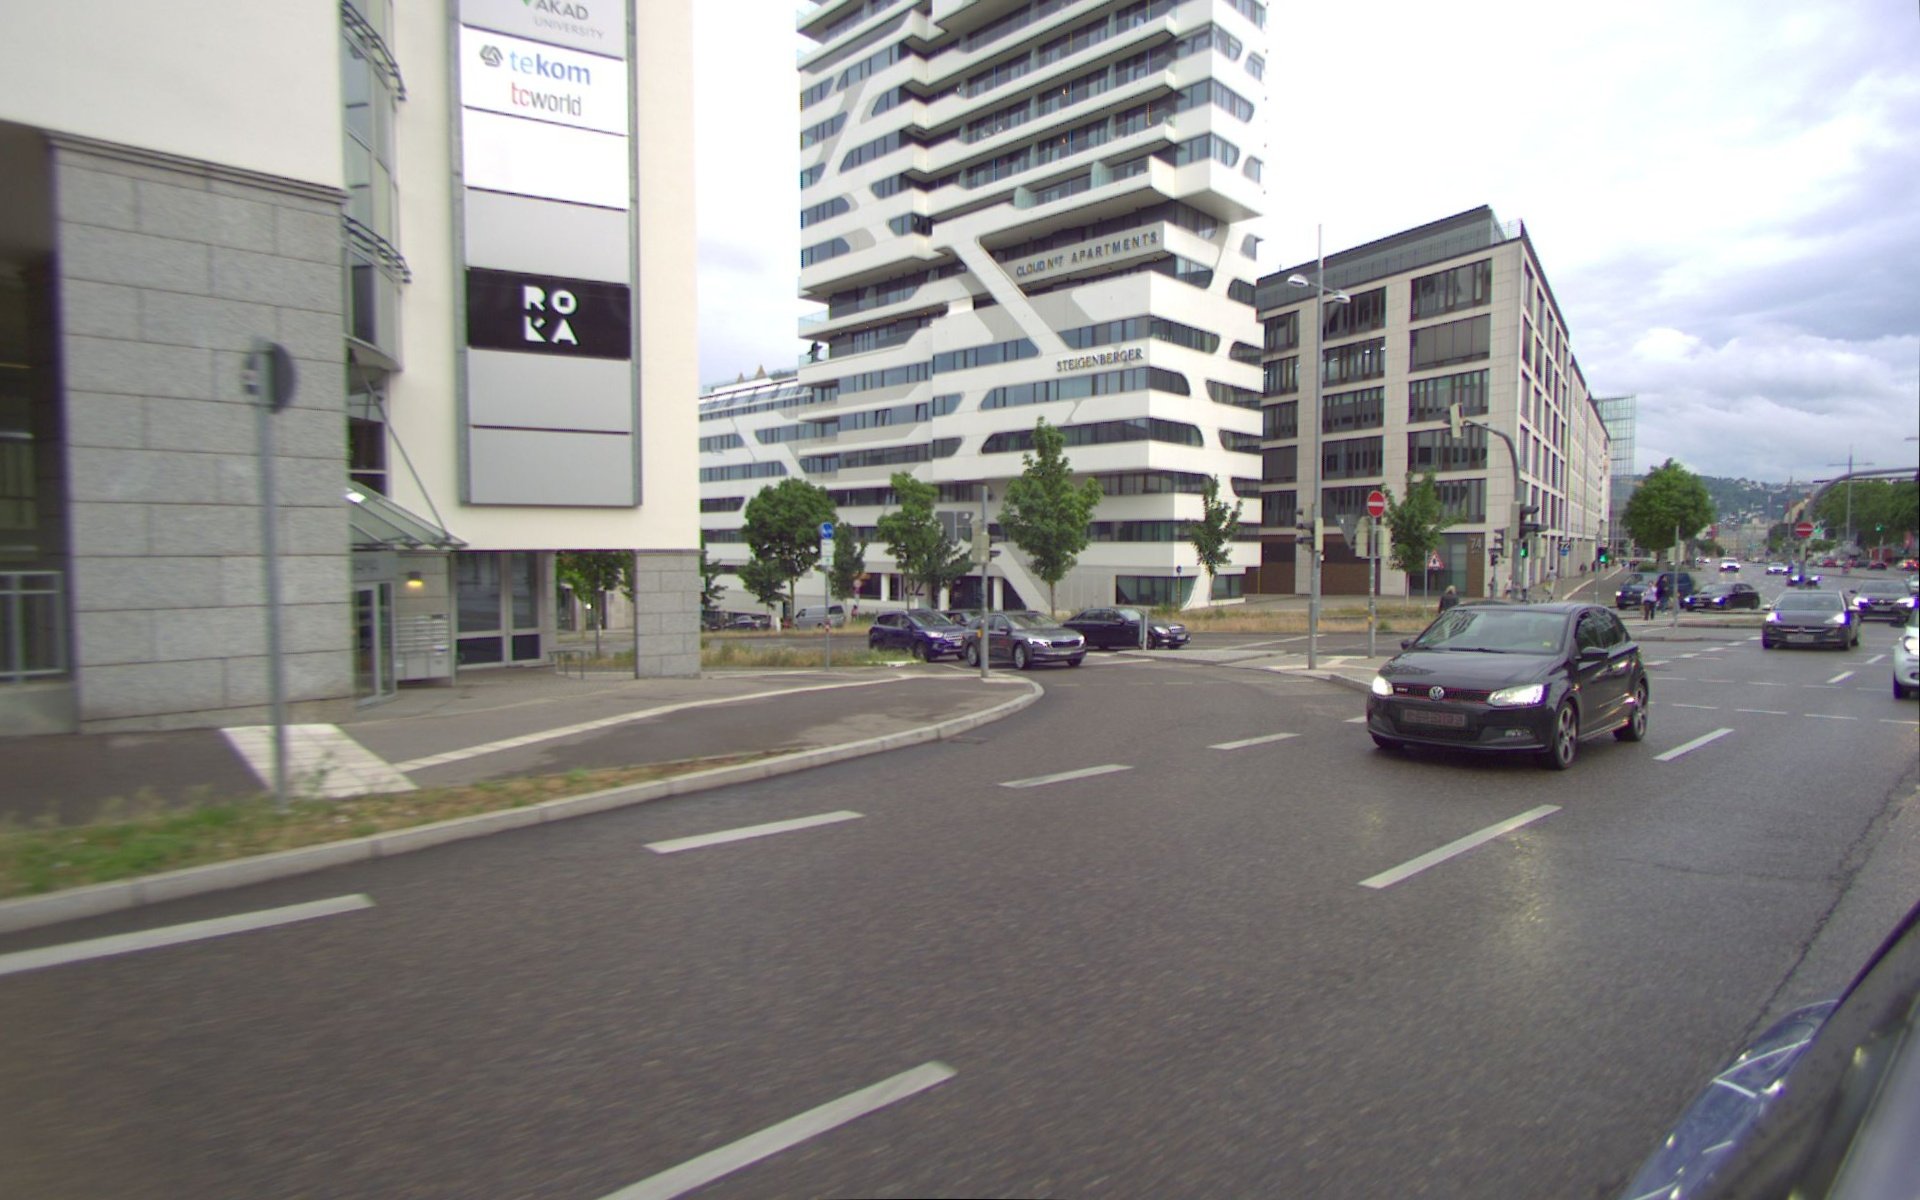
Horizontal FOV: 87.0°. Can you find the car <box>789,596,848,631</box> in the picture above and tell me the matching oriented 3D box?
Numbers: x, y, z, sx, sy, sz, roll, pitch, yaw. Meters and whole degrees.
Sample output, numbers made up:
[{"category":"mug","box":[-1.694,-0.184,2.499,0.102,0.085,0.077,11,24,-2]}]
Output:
[{"category":"car","box":[-10.388,0.963,74.035,4.482,2.409,1.773,0,1,42]}]

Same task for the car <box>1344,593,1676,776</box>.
[{"category":"car","box":[5.516,0.666,9.964,3.782,1.417,1.676,-1,1,-41]}]

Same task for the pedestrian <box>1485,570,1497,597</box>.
[{"category":"pedestrian","box":[31.694,-0.985,60.374,0.583,1.629,0.597,0,1,34]}]

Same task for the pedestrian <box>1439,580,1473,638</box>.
[{"category":"pedestrian","box":[14.362,0.239,29.306,0.633,1.645,0.707,-1,1,-41]}]

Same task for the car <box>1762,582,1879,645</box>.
[{"category":"car","box":[21.948,0.287,25.781,3.642,1.459,1.750,-1,1,-41]}]

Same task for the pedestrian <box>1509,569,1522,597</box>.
[{"category":"pedestrian","box":[32.627,-0.991,59.428,0.583,1.629,0.597,0,1,34]}]

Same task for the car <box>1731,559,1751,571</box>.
[{"category":"car","box":[102.236,-4.560,132.502,1.788,1.529,3.950,0,1,35]}]

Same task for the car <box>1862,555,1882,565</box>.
[{"category":"car","box":[145.856,-6.442,161.862,1.788,1.529,3.950,0,1,35]}]

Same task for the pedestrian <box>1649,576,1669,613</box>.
[{"category":"pedestrian","box":[28.224,-0.234,40.859,0.582,1.496,0.599,0,1,27]}]

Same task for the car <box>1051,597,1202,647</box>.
[{"category":"car","box":[5.202,0.700,32.071,1.827,1.408,4.473,-3,0,-44]}]

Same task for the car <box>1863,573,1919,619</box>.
[{"category":"car","box":[36.067,-0.184,38.719,3.930,1.687,1.797,-1,1,-41]}]

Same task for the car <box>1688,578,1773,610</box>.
[{"category":"car","box":[37.904,-0.313,49.763,3.918,1.529,1.803,-1,1,-27]}]

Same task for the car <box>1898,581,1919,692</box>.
[{"category":"car","box":[15.335,0.514,14.969,3.932,1.556,1.797,-1,2,-42]}]

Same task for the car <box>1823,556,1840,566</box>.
[{"category":"car","box":[148.270,-6.617,172.131,1.788,1.529,3.950,0,1,35]}]

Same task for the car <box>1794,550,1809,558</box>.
[{"category":"car","box":[155.758,-8.515,187.419,1.788,1.529,3.950,0,1,35]}]

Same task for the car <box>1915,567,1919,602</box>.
[{"category":"car","box":[58.776,-0.936,60.833,3.933,2.058,1.796,-1,1,-43]}]

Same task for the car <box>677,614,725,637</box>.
[{"category":"car","box":[-21.835,2.083,85.245,4.482,1.764,1.773,0,1,42]}]

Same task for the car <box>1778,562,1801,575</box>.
[{"category":"car","box":[98.754,-3.726,120.478,1.788,1.529,3.950,0,1,35]}]

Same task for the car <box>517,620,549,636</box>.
[{"category":"car","box":[-46.805,3.038,110.841,1.770,1.529,4.489,-1,1,-44]}]

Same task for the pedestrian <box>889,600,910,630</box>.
[{"category":"pedestrian","box":[-4.221,1.049,70.683,1.091,2.039,0.958,0,1,42]}]

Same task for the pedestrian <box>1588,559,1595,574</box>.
[{"category":"pedestrian","box":[63.807,-3.421,102.258,0.584,1.496,0.597,0,1,35]}]

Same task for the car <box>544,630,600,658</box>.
[{"category":"car","box":[-23.663,2.672,61.679,1.771,1.530,3.988,-1,-2,-44]}]

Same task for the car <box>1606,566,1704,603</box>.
[{"category":"car","box":[36.798,-0.840,53.648,4.203,1.885,1.803,-1,1,-10]}]

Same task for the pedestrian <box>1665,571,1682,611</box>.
[{"category":"pedestrian","box":[32.517,-0.414,46.137,0.601,1.825,0.579,0,1,40]}]

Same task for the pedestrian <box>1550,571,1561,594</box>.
[{"category":"pedestrian","box":[39.266,-1.178,66.695,0.582,1.496,0.599,0,1,27]}]

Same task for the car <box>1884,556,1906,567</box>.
[{"category":"car","box":[132.920,-5.467,143.850,1.788,1.529,3.950,0,1,35]}]

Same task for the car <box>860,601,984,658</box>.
[{"category":"car","box":[-1.295,0.936,32.588,1.822,1.689,4.483,-1,-1,-35]}]

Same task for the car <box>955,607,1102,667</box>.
[{"category":"car","box":[1.696,0.922,26.691,1.819,1.408,4.491,-1,-1,-26]}]

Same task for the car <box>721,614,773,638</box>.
[{"category":"car","box":[-17.110,2.093,81.276,4.482,1.764,1.773,0,1,42]}]

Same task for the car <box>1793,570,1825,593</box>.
[{"category":"car","box":[72.718,-1.581,86.708,1.788,1.970,3.950,0,1,35]}]

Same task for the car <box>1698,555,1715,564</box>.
[{"category":"car","box":[137.822,-7.428,186.864,1.782,1.529,3.965,0,1,26]}]
